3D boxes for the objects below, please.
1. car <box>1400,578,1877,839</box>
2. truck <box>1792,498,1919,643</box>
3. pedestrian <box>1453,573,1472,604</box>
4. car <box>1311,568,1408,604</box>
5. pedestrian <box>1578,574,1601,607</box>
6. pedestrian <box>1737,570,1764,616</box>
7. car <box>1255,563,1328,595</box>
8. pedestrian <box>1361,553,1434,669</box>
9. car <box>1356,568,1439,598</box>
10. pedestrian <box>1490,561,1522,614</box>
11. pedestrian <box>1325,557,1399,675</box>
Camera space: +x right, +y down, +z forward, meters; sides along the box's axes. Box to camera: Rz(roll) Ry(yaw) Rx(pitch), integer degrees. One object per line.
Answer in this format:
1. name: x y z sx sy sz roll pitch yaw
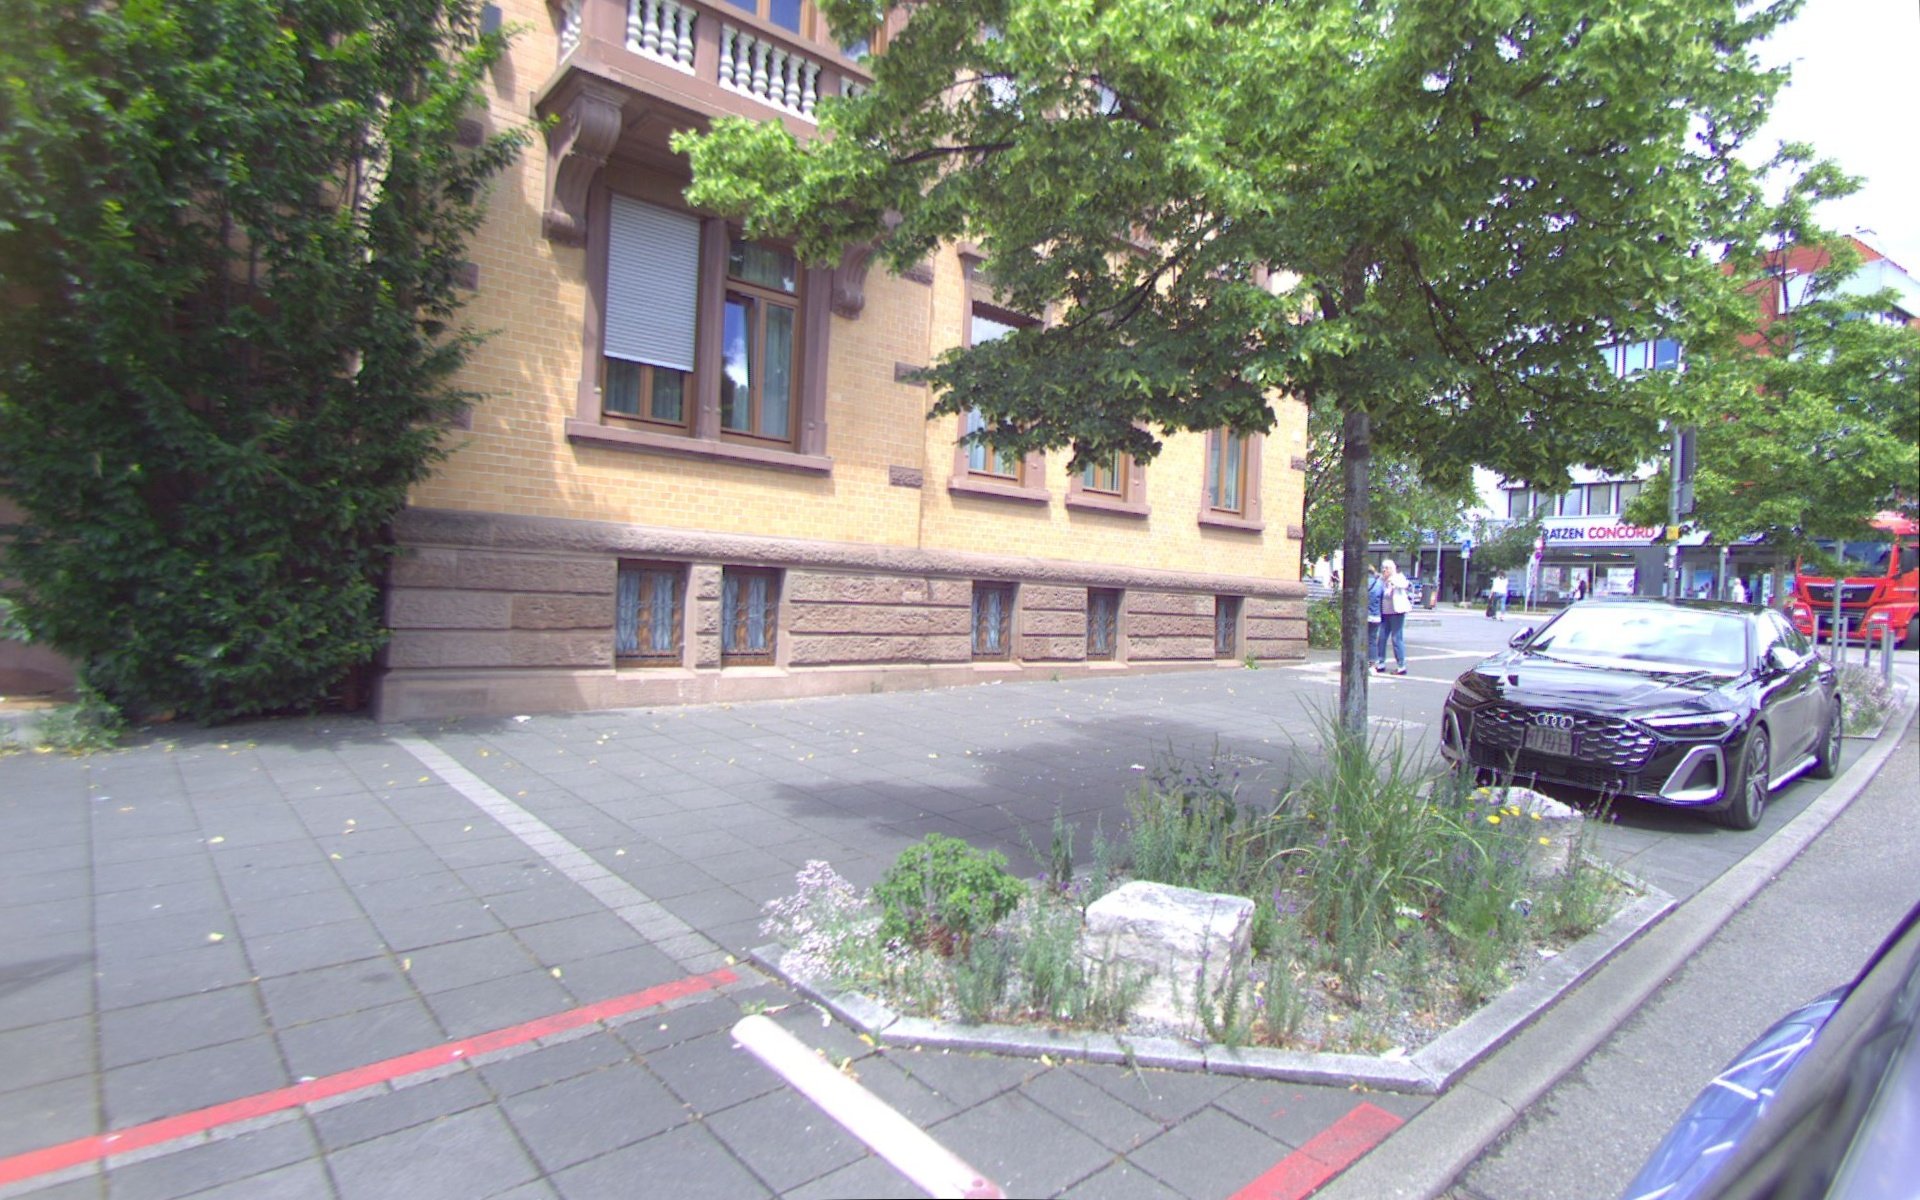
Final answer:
1. car: 5.594 0.612 8.076 4.653 1.431 1.997 0 2 -41
2. truck: 29.869 -0.860 30.564 10.622 3.890 2.688 0 1 -23
3. pedestrian: 29.853 -0.688 60.141 0.751 1.797 0.686 0 1 -32
4. car: 19.622 -0.703 49.837 1.962 1.672 4.000 1 0 -35
5. pedestrian: 31.275 -0.480 50.253 0.751 1.603 0.686 0 1 -32
6. pedestrian: 34.101 -0.313 43.661 0.751 1.937 0.686 0 1 -32
7. car: 23.438 -1.467 71.571 4.936 2.038 2.413 1 2 -36
8. pedestrian: 6.533 0.153 15.126 0.725 1.679 0.699 0 1 -30
9. car: 23.820 -0.961 55.214 1.783 1.582 3.835 0 2 -30
10. pedestrian: 18.083 -0.422 33.527 0.756 1.752 0.749 1 1 17
11. pedestrian: 5.842 0.219 14.729 0.661 1.660 0.742 0 1 -16
